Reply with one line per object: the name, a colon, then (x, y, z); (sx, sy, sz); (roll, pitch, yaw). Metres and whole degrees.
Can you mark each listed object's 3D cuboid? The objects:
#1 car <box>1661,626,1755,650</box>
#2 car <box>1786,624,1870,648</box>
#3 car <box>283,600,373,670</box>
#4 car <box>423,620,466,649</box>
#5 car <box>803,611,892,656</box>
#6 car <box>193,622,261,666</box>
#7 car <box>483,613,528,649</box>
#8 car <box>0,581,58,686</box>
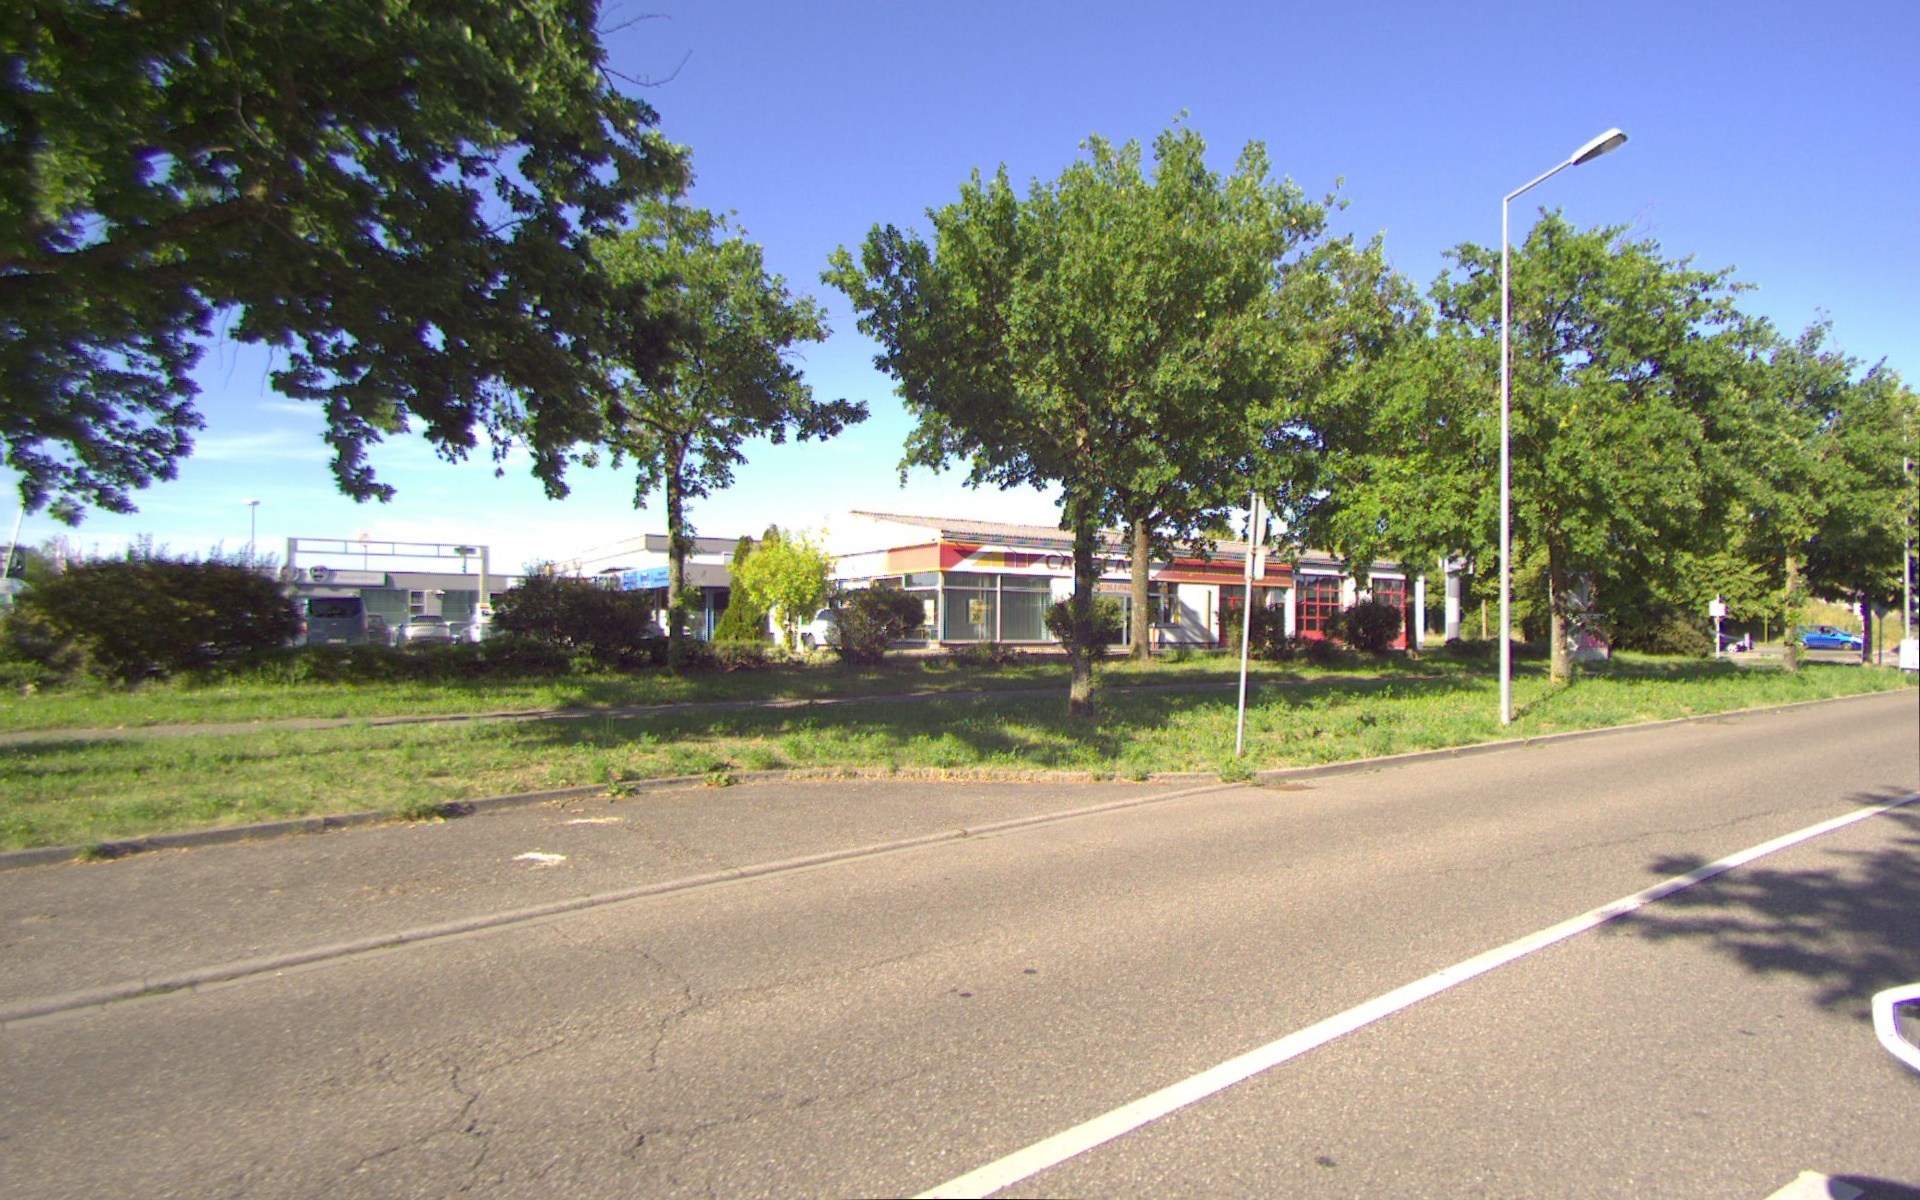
car: (47.003, 2.388, 63.186); (1.666, 1.460, 4.433); (0, -2, -35)
car: (54.992, 2.271, 63.657); (1.668, 1.403, 3.815); (2, -1, -39)
car: (-20.701, 1.115, 32.797); (2.278, 2.097, 5.375); (1, -2, -34)
car: (-28.292, 1.892, 55.091); (1.578, 1.517, 3.571); (2, -2, -36)
car: (-4.034, 1.166, 35.689); (1.578, 1.517, 3.571); (2, -2, -36)
car: (-23.202, 1.358, 31.872); (1.558, 1.319, 3.501); (1, -1, -34)
car: (-26.499, 1.782, 58.511); (1.864, 2.040, 3.965); (1, -2, -33)
car: (-27.367, 0.843, 28.125); (2.278, 2.738, 6.120); (2, -1, -34)
